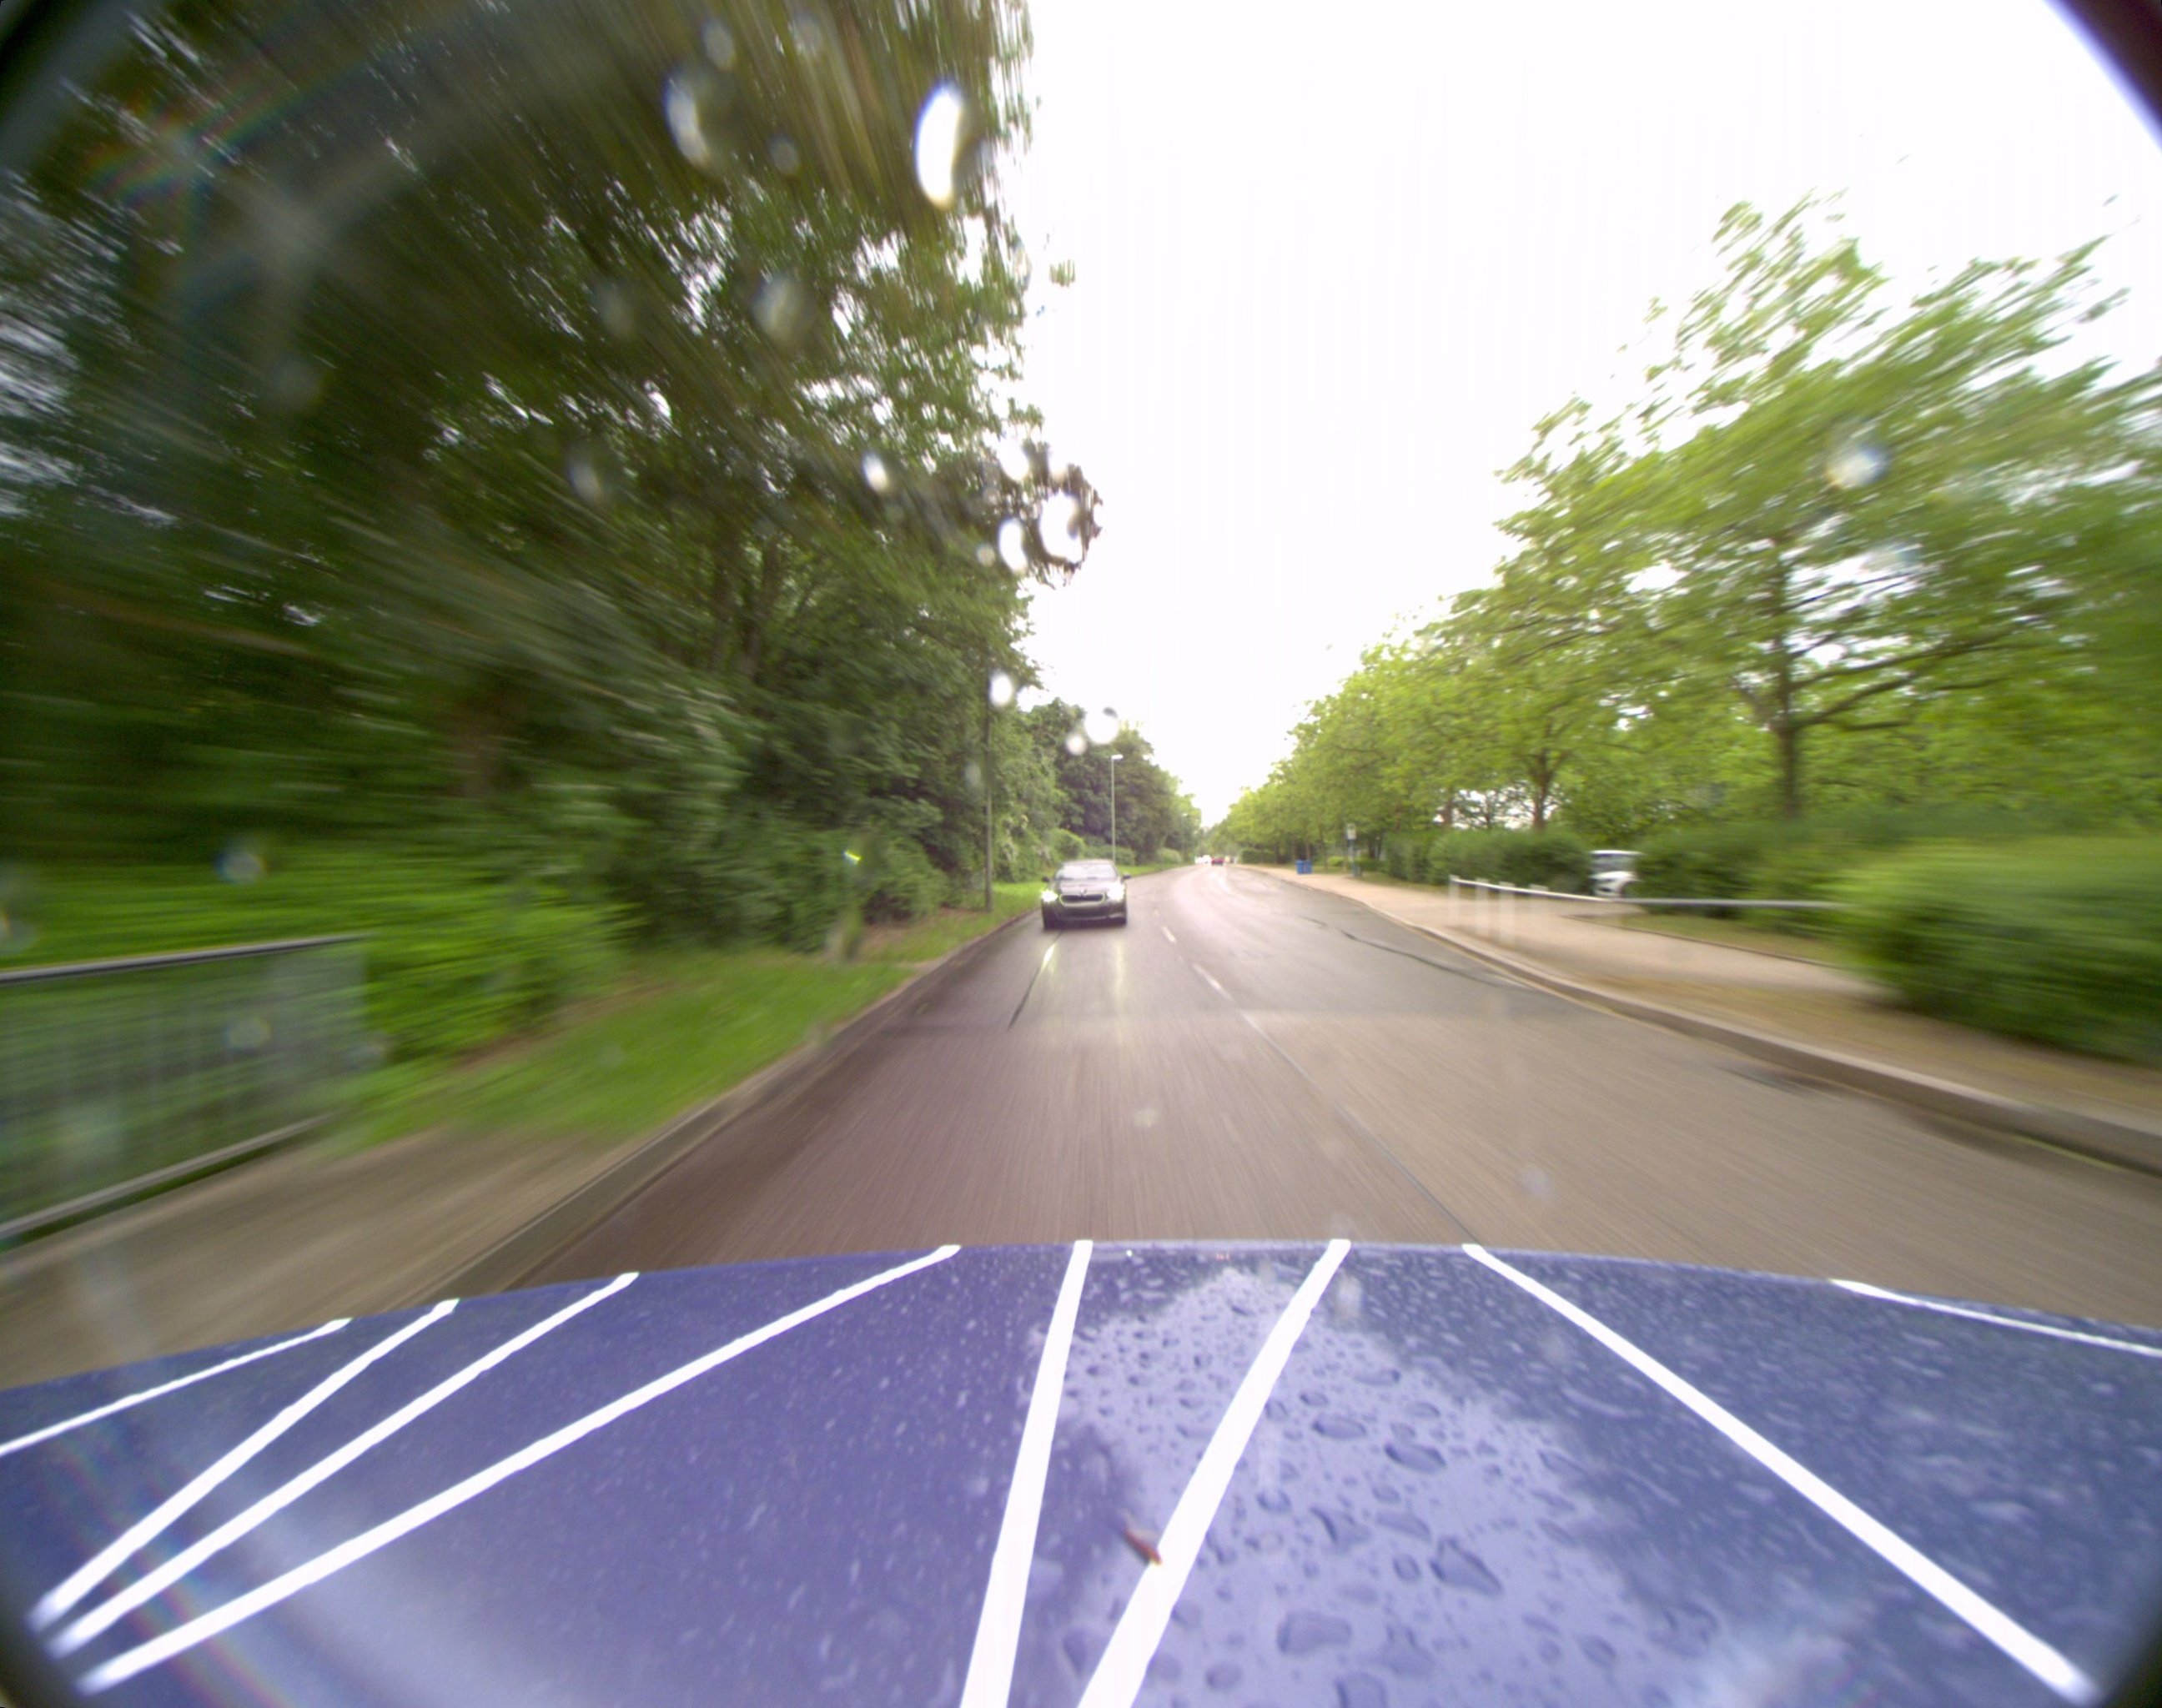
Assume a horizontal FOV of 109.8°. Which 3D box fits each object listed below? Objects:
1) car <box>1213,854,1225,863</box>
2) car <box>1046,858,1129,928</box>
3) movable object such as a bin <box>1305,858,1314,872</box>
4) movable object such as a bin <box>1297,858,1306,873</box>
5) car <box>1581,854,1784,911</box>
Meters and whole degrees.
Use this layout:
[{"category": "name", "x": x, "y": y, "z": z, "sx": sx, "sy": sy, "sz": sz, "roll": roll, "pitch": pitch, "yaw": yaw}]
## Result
[{"category": "car", "x": 22.264, "y": 0.723, "z": 122.527, "sx": 1.829, "sy": 1.456, "sz": 4.004, "roll": 0, "pitch": 0, "yaw": 12}, {"category": "car", "x": 0.215, "y": 0.903, "z": 19.648, "sx": 1.832, "sy": 1.499, "sz": 4.499, "roll": -3, "pitch": 0, "yaw": 2}, {"category": "movable object such as a bin", "x": 18.010, "y": 0.888, "z": 59.902, "sx": 0.567, "sy": 1.092, "sz": 0.672, "roll": -3, "pitch": 0, "yaw": 13}, {"category": "movable object such as a bin", "x": 17.380, "y": 0.910, "z": 59.839, "sx": 0.567, "sy": 1.092, "sz": 0.672, "roll": -3, "pitch": 0, "yaw": 13}, {"category": "car", "x": 18.303, "y": 0.832, "z": 23.364, "sx": 4.503, "sy": 1.501, "sz": 1.802, "roll": 2, "pitch": 0, "yaw": 16}]
